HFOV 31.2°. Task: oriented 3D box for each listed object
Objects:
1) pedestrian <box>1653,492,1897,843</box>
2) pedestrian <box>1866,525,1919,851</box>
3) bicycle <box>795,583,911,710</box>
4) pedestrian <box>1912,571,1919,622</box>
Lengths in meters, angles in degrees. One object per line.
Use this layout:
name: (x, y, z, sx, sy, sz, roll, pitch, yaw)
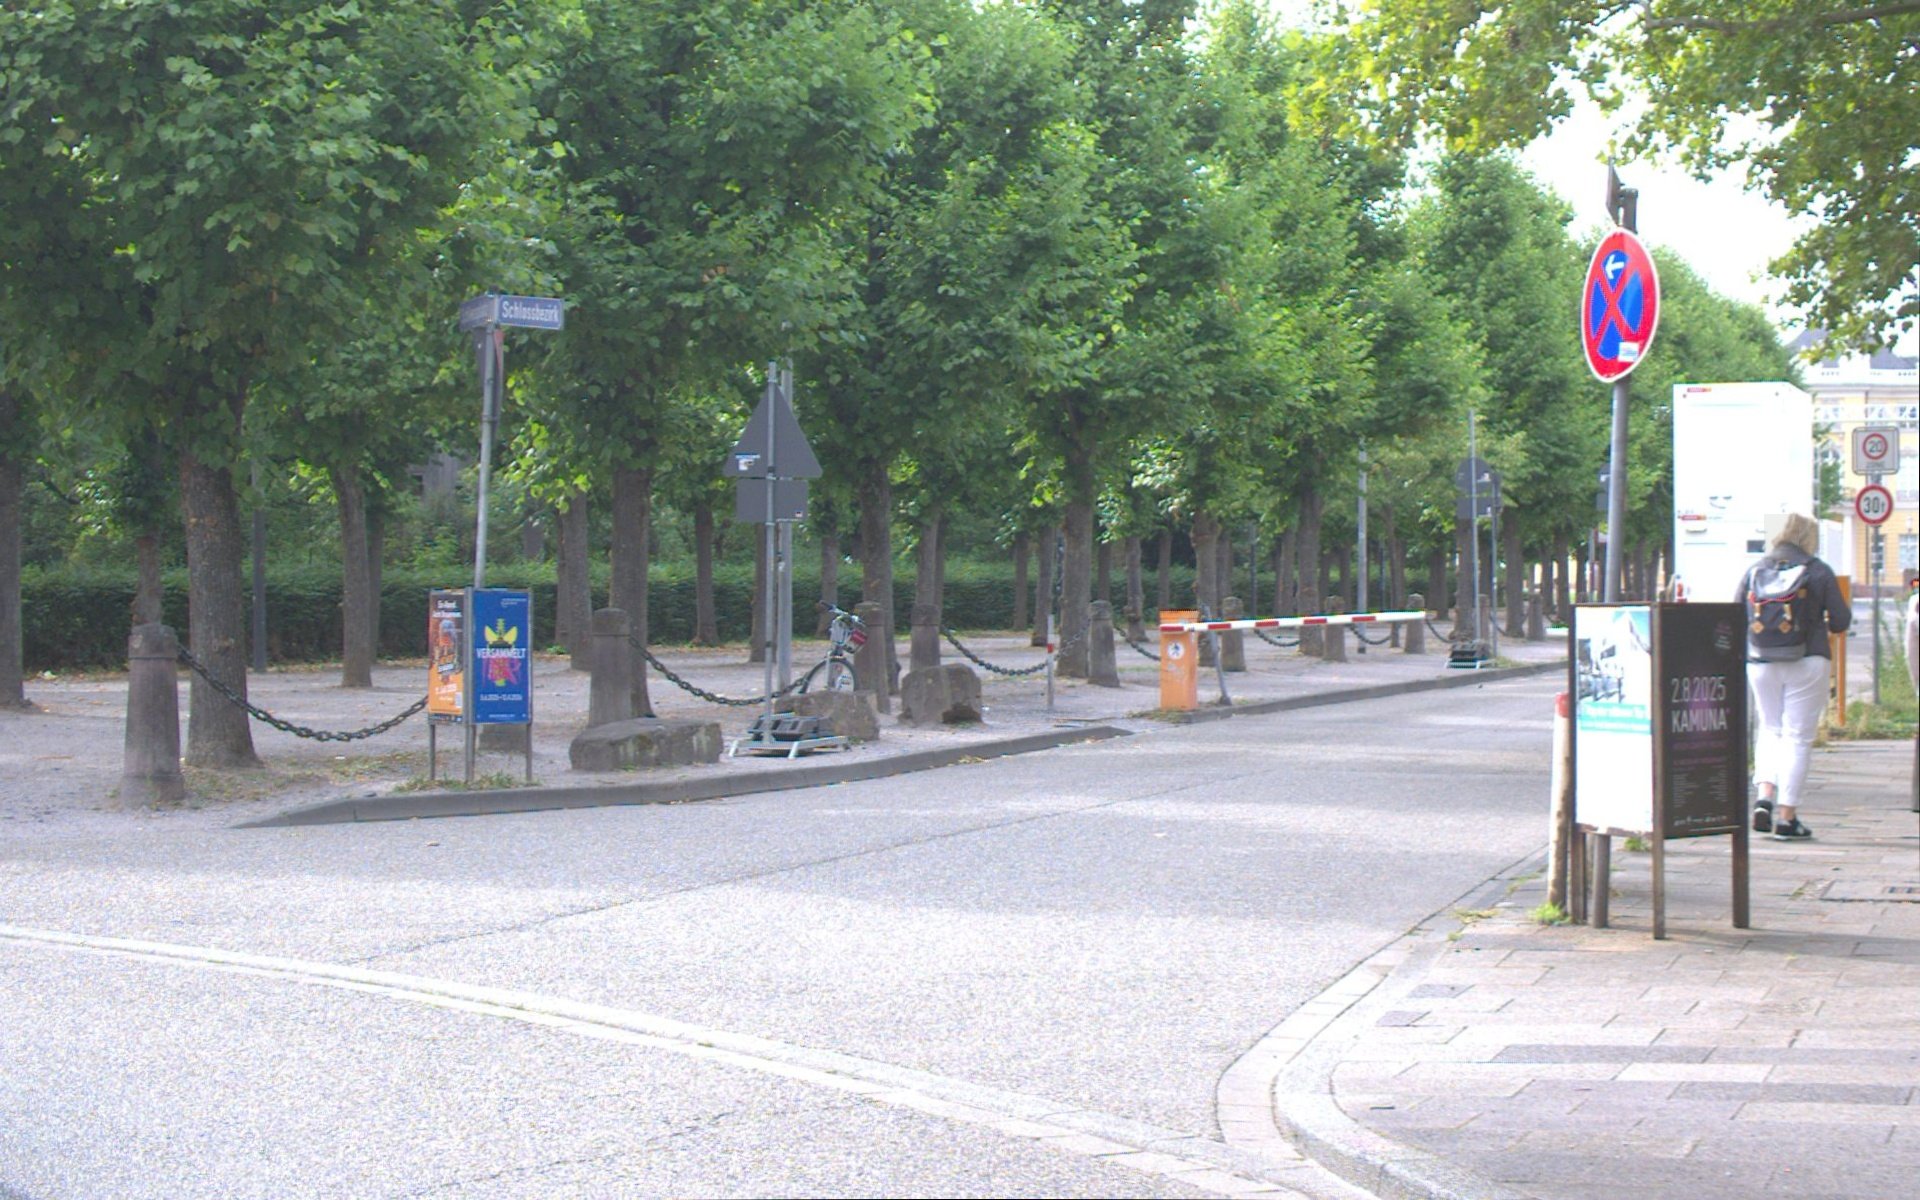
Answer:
pedestrian: (4.271, 0.324, 17.961, 0.961, 1.735, 1.254, 2, 1, 25)
pedestrian: (5.171, 0.447, 17.604, 0.897, 1.635, 0.851, 2, 1, 21)
bicycle: (-1.011, 0.423, 33.150, 0.952, 1.106, 2.579, 2, 1, 1)
pedestrian: (30.699, -0.115, 109.753, 0.459, 1.619, 0.632, 2, 1, 5)
